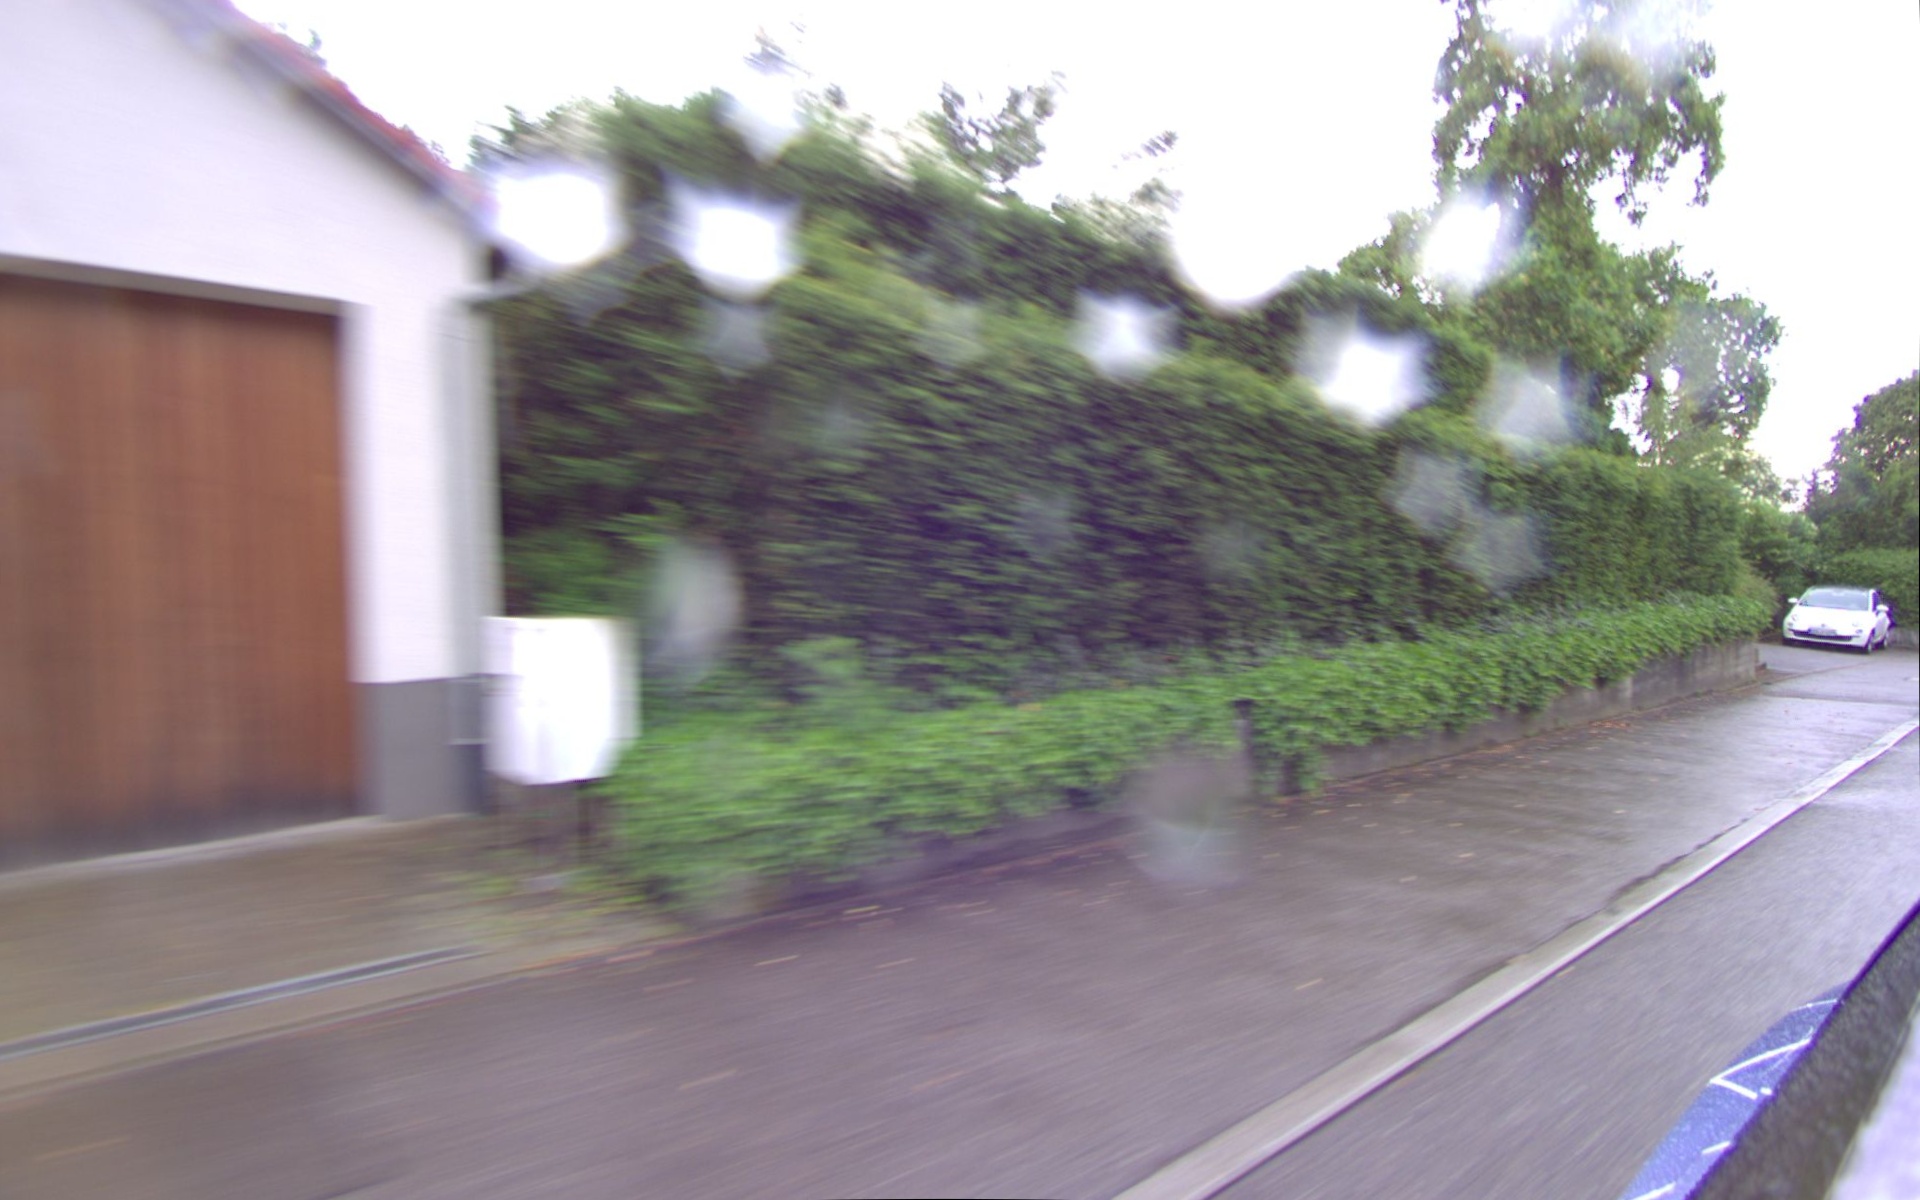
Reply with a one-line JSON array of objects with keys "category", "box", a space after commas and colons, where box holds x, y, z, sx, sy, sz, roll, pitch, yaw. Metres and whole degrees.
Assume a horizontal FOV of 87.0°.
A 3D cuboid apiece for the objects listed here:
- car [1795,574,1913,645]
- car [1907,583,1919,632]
[{"category": "car", "box": [21.598, 0.206, 24.412, 3.776, 1.554, 1.535, 0, 2, -40]}, {"category": "car", "box": [35.512, 0.172, 34.548, 1.692, 1.739, 4.351, -1, -2, -12]}]
